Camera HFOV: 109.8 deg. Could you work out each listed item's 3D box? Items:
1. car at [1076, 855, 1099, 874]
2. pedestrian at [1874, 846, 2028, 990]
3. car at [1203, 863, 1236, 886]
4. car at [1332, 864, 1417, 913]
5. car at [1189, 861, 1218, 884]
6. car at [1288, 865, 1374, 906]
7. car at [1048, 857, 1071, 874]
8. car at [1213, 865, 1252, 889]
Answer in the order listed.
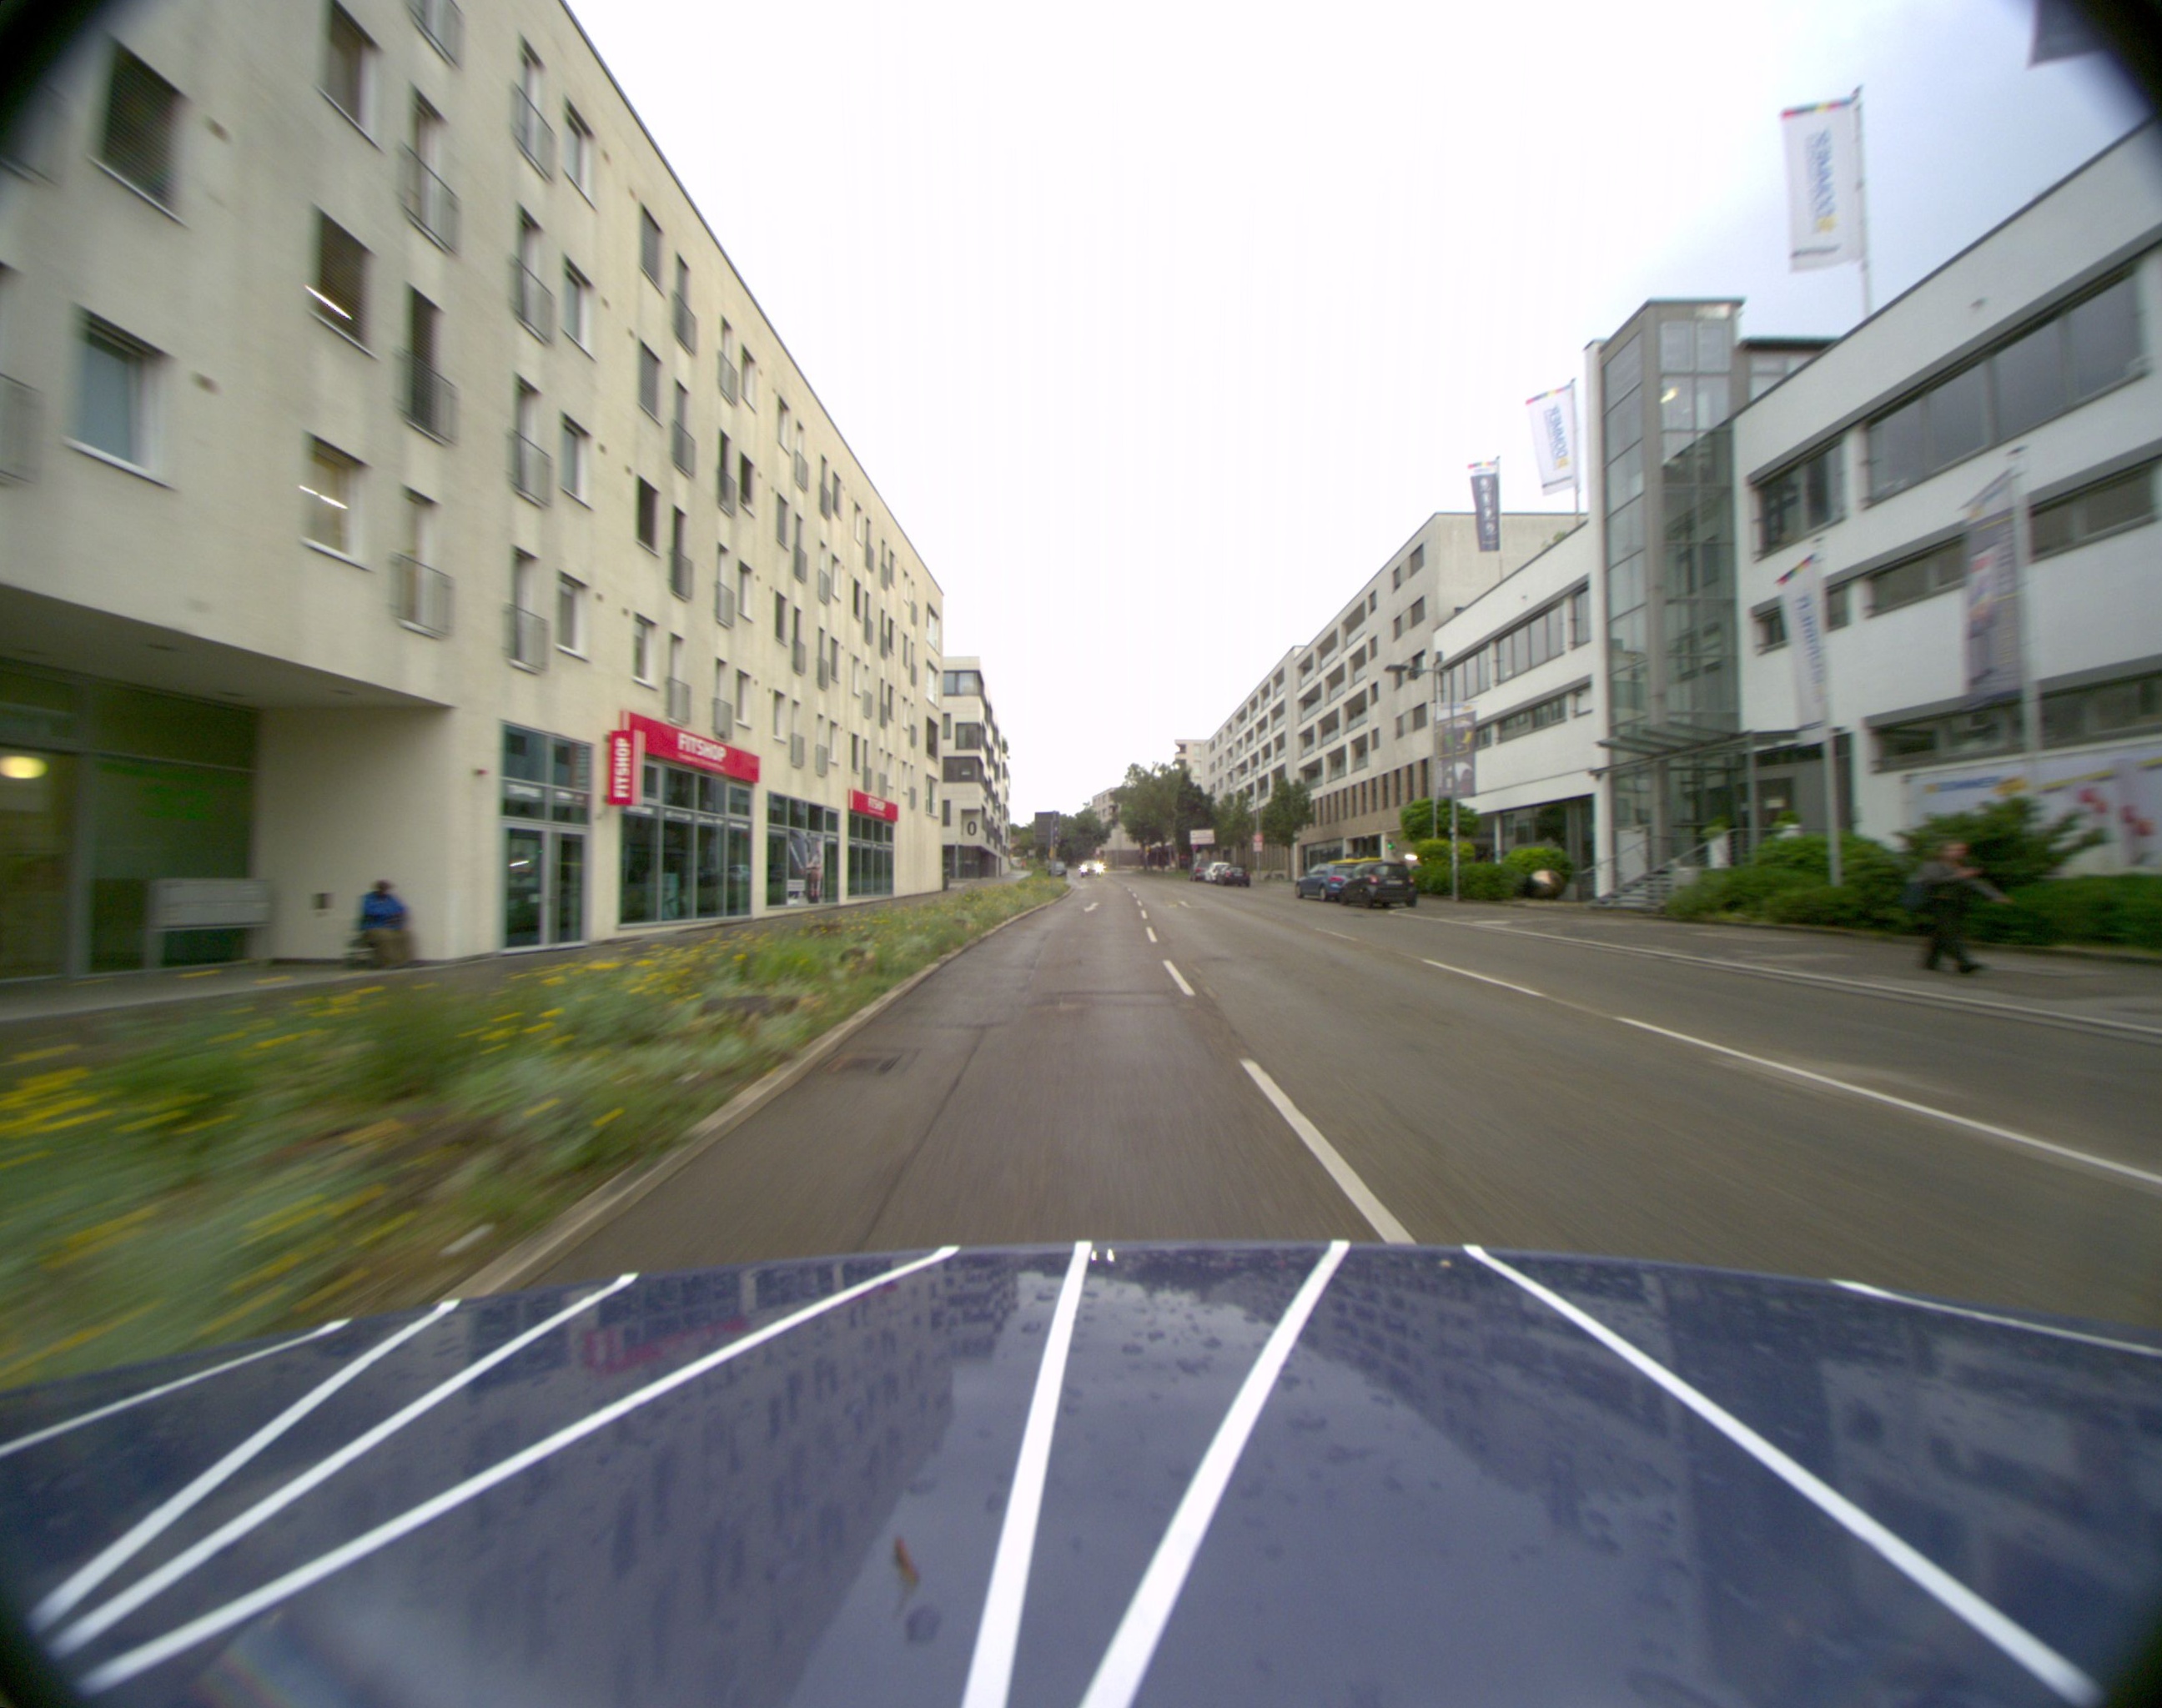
[{"bbox_3d":[0.659,0.990,72.516,1.998,1.565,4.000,-3,0,2],"label":"car"},{"bbox_3d":[10.738,0.749,9.420,0.769,1.667,0.968,-3,1,1],"label":"pedestrian"},{"bbox_3d":[9.841,1.461,54.291,1.597,1.459,3.421,2,0,-1],"label":"car"},{"bbox_3d":[9.904,1.139,25.830,1.519,1.501,2.980,1,0,-5],"label":"car"},{"bbox_3d":[9.500,1.402,59.194,1.630,1.608,3.972,2,0,0],"label":"car"},{"bbox_3d":[9.725,1.190,29.918,1.661,1.395,4.268,1,0,-5],"label":"car"},{"bbox_3d":[-2.099,1.109,75.119,1.998,1.477,4.000,-3,0,2],"label":"car"},{"bbox_3d":[9.830,1.468,49.645,1.662,1.383,3.739,1,0,-2],"label":"car"}]
